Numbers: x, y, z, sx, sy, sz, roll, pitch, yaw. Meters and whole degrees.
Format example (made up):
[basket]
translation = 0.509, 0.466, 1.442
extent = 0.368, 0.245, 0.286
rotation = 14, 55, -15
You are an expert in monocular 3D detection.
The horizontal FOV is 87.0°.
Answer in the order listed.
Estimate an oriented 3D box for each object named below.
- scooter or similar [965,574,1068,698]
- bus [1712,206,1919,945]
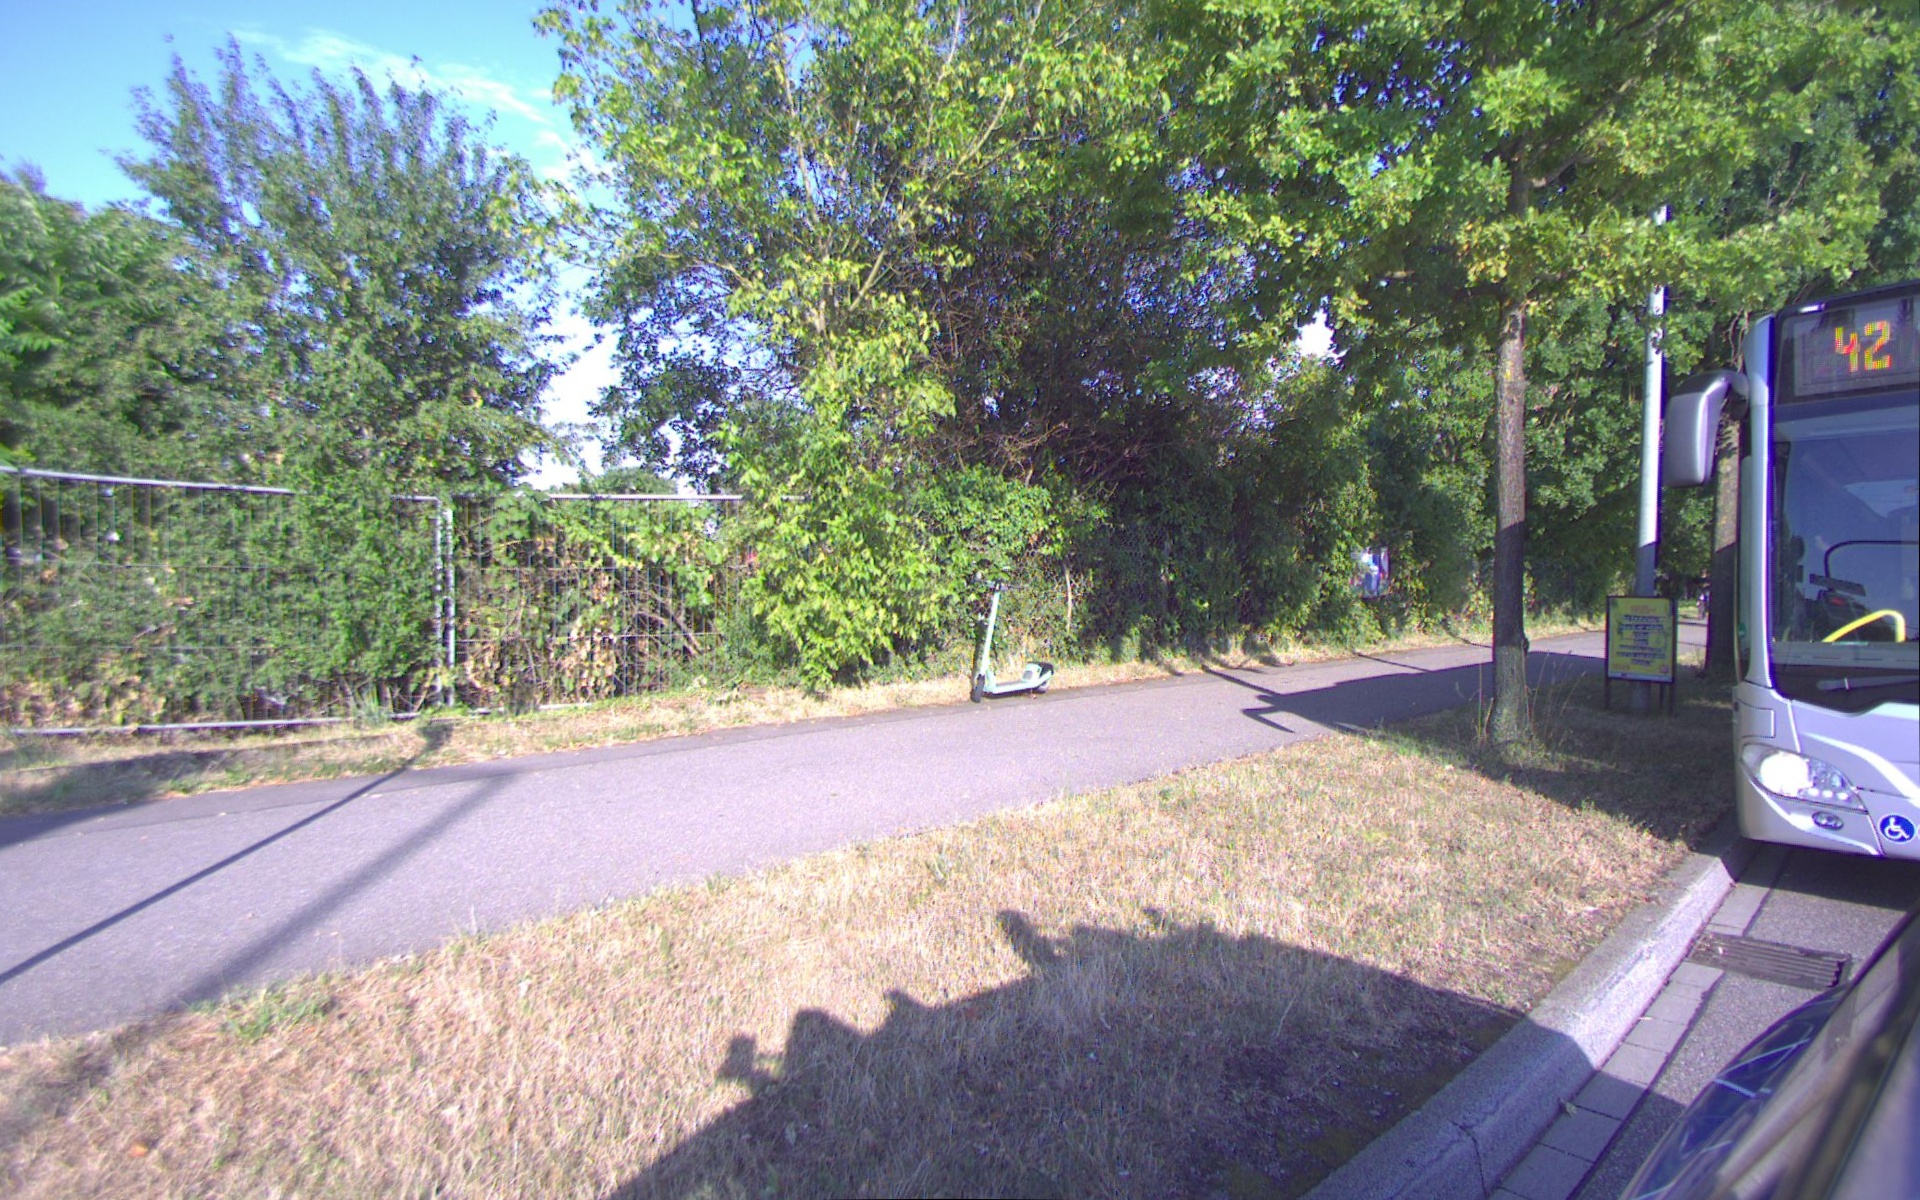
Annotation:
[scooter or similar]
translation = 0.561, 0.332, 9.816
extent = 1.076, 1.139, 0.249
rotation = 0, 4, -41
[bus]
translation = 8.381, -0.128, 8.001
extent = 2.588, 3.081, 11.536
rotation = 1, 1, 43
